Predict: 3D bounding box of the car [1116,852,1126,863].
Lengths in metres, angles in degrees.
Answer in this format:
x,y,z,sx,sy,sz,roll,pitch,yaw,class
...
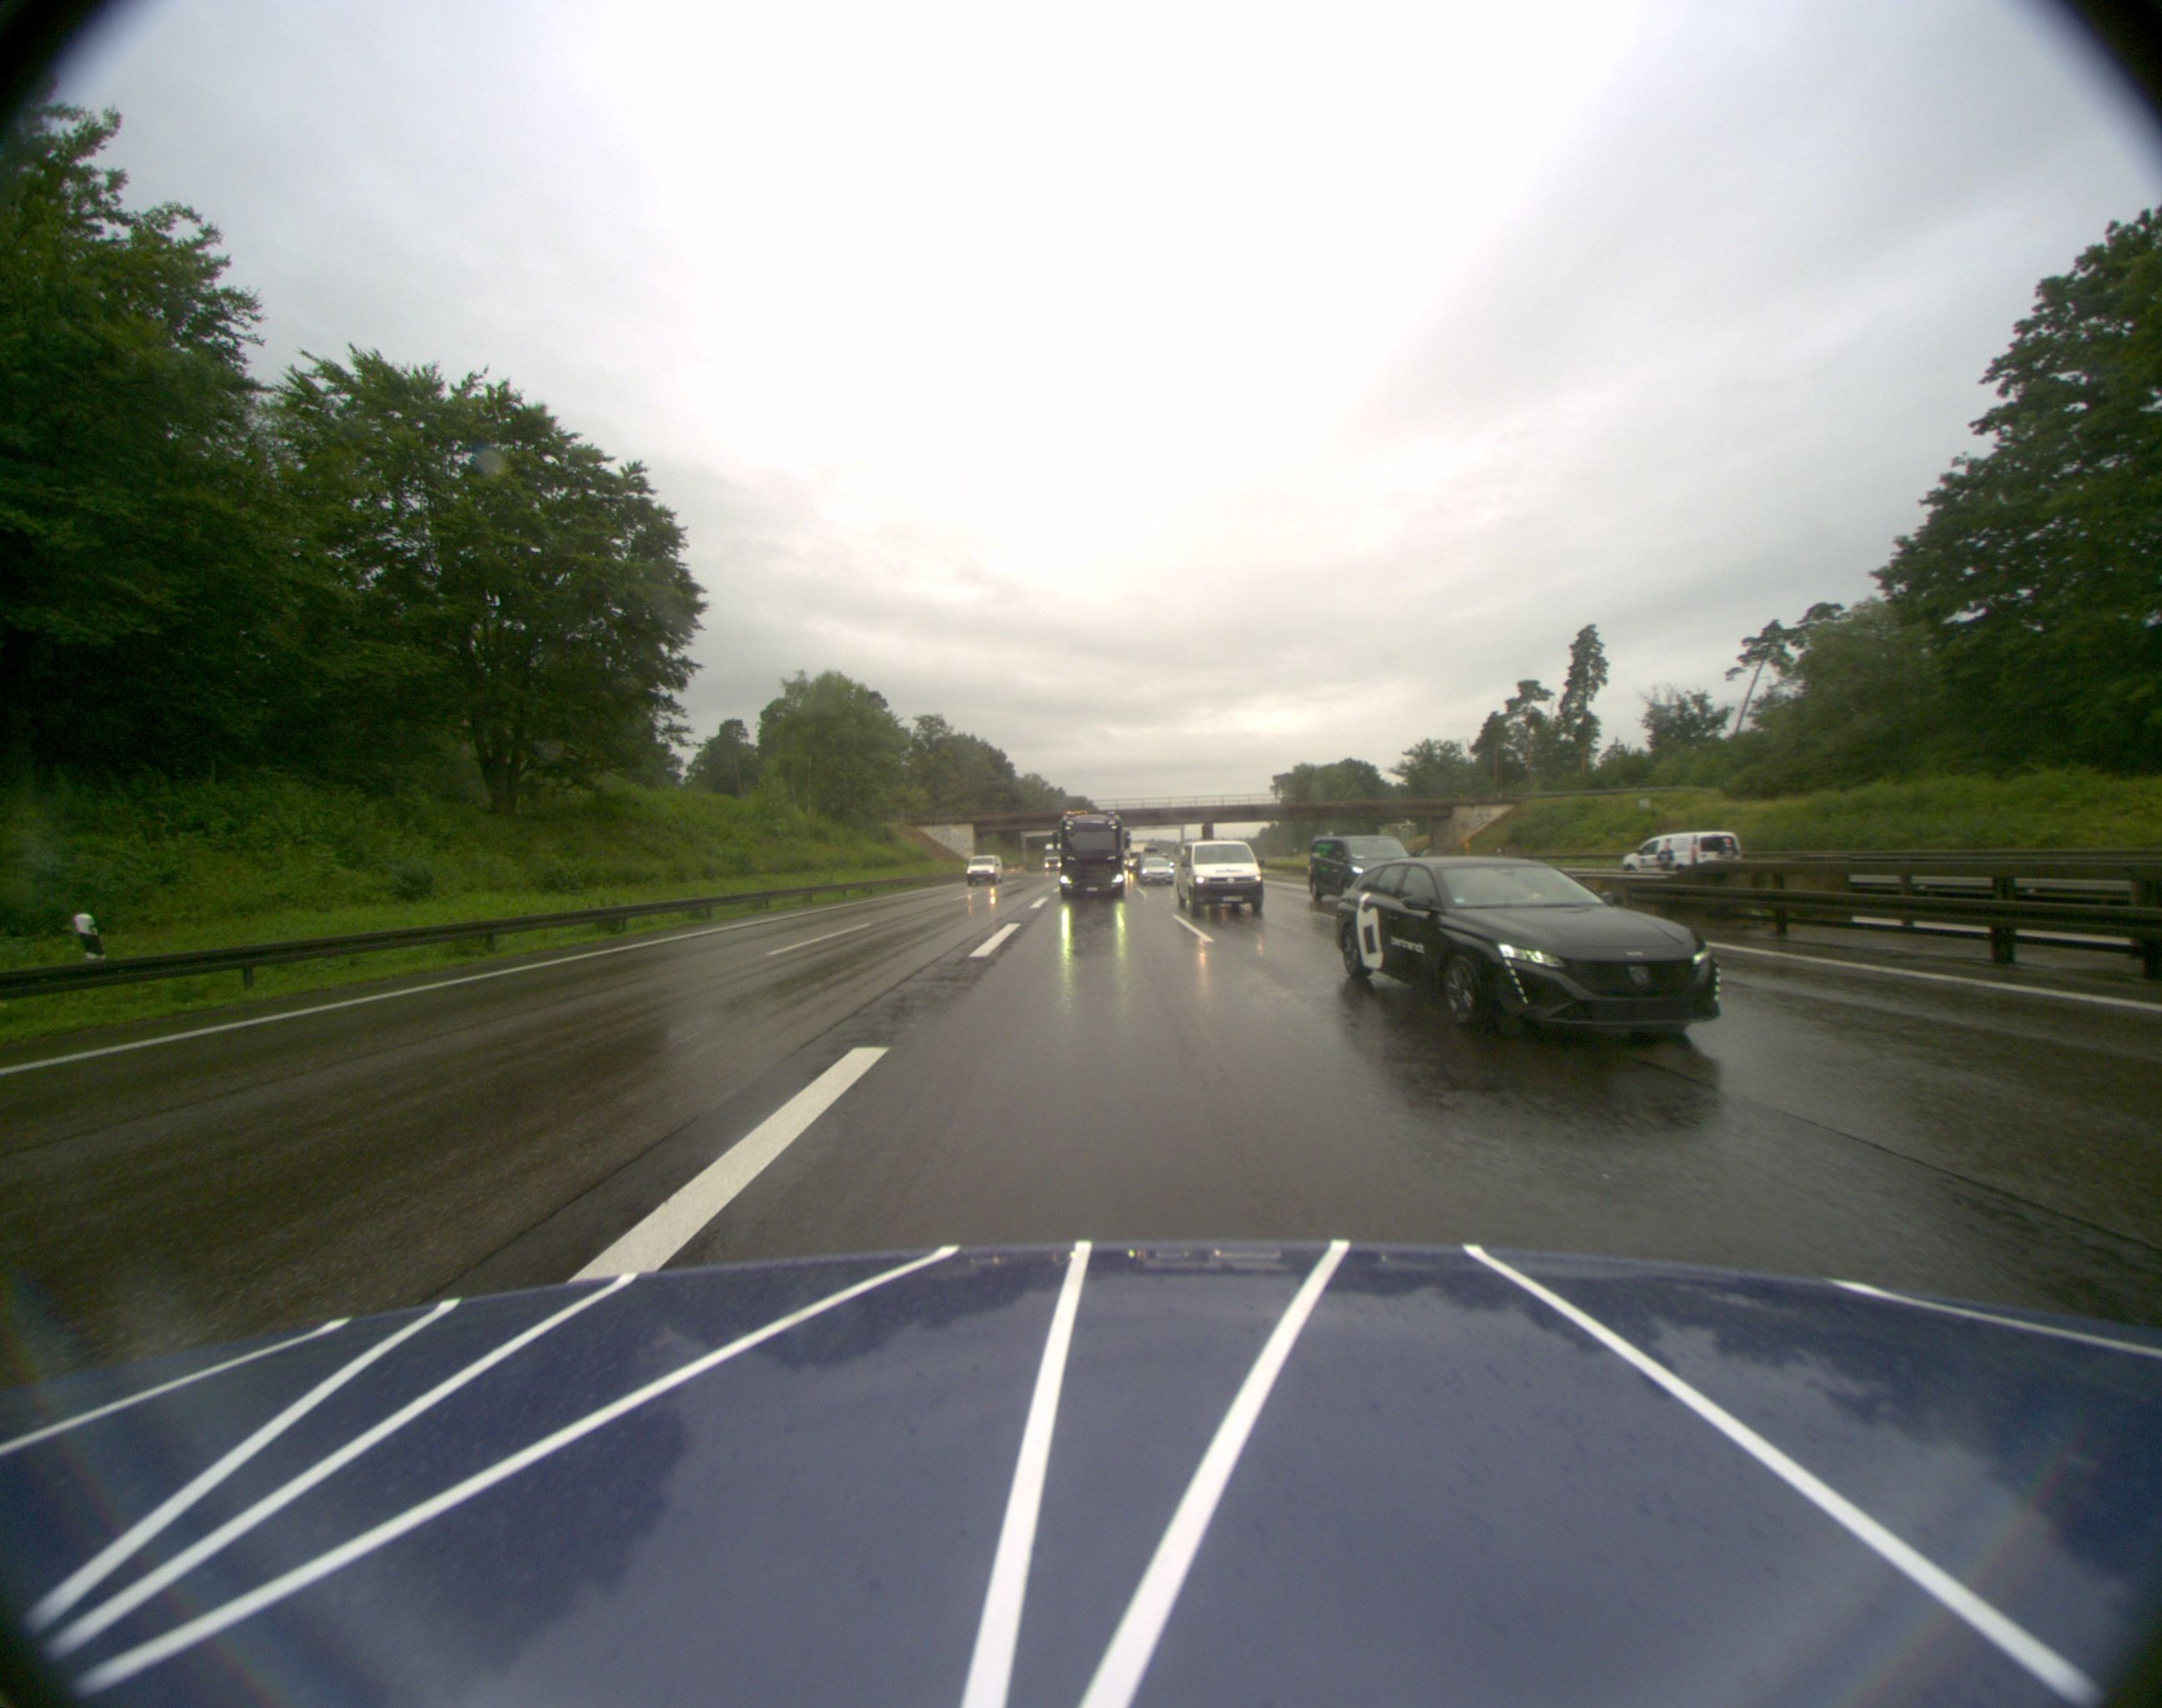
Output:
x,y,z,sx,sy,sz,roll,pitch,yaw,class
8.339,0.721,158.252,1.998,2.002,4.000,-2,0,0,car

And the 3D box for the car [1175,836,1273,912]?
x,y,z,sx,sy,sz,roll,pitch,yaw,class
3.907,0.503,21.623,1.994,1.869,4.768,-2,0,2,car

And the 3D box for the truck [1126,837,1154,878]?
x,y,z,sx,sy,sz,roll,pitch,yaw,class
6.087,0.371,79.182,2.521,3.941,6.995,-2,0,2,truck

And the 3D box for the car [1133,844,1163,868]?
x,y,z,sx,sy,sz,roll,pitch,yaw,class
4.770,0.138,54.545,1.994,1.551,4.768,-2,0,3,car

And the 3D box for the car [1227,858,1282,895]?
x,y,z,sx,sy,sz,roll,pitch,yaw,class
9.675,1.192,42.655,1.915,1.852,4.758,-2,0,0,car

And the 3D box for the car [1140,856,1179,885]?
x,y,z,sx,sy,sz,roll,pitch,yaw,class
4.335,0.884,42.750,1.850,1.496,4.467,-2,0,2,car

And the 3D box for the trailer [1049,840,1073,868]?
x,y,z,sx,sy,sz,roll,pitch,yaw,class
-3.022,-0.055,120.974,2.559,3.990,13.716,-2,0,3,trailer

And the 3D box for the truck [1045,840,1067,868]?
x,y,z,sx,sy,sz,roll,pitch,yaw,class
-3.782,-0.065,114.874,2.608,3.990,6.013,-3,1,2,truck

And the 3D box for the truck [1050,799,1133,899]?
x,y,z,sx,sy,sz,roll,pitch,yaw,class
0.629,-0.240,33.196,2.879,3.528,10.912,-2,1,3,truck

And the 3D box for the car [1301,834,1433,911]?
x,y,z,sx,sy,sz,roll,pitch,yaw,class
8.154,0.467,22.291,1.996,1.932,5.243,-2,0,2,car

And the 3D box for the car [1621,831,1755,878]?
x,y,z,sx,sy,sz,roll,pitch,yaw,class
22.330,0.012,28.179,1.865,1.586,4.000,-2,0,2,car

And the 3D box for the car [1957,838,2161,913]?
x,y,z,sx,sy,sz,roll,pitch,yaw,class
22.593,0.418,16.624,1.840,1.489,4.332,-2,0,1,car

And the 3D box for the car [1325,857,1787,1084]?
x,y,z,sx,sy,sz,roll,pitch,yaw,class
3.998,0.821,7.490,1.850,1.495,4.467,-2,0,2,car

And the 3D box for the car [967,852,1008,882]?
x,y,z,sx,sy,sz,roll,pitch,yaw,class
-6.362,0.833,52.146,1.994,1.909,4.768,-2,0,3,car
